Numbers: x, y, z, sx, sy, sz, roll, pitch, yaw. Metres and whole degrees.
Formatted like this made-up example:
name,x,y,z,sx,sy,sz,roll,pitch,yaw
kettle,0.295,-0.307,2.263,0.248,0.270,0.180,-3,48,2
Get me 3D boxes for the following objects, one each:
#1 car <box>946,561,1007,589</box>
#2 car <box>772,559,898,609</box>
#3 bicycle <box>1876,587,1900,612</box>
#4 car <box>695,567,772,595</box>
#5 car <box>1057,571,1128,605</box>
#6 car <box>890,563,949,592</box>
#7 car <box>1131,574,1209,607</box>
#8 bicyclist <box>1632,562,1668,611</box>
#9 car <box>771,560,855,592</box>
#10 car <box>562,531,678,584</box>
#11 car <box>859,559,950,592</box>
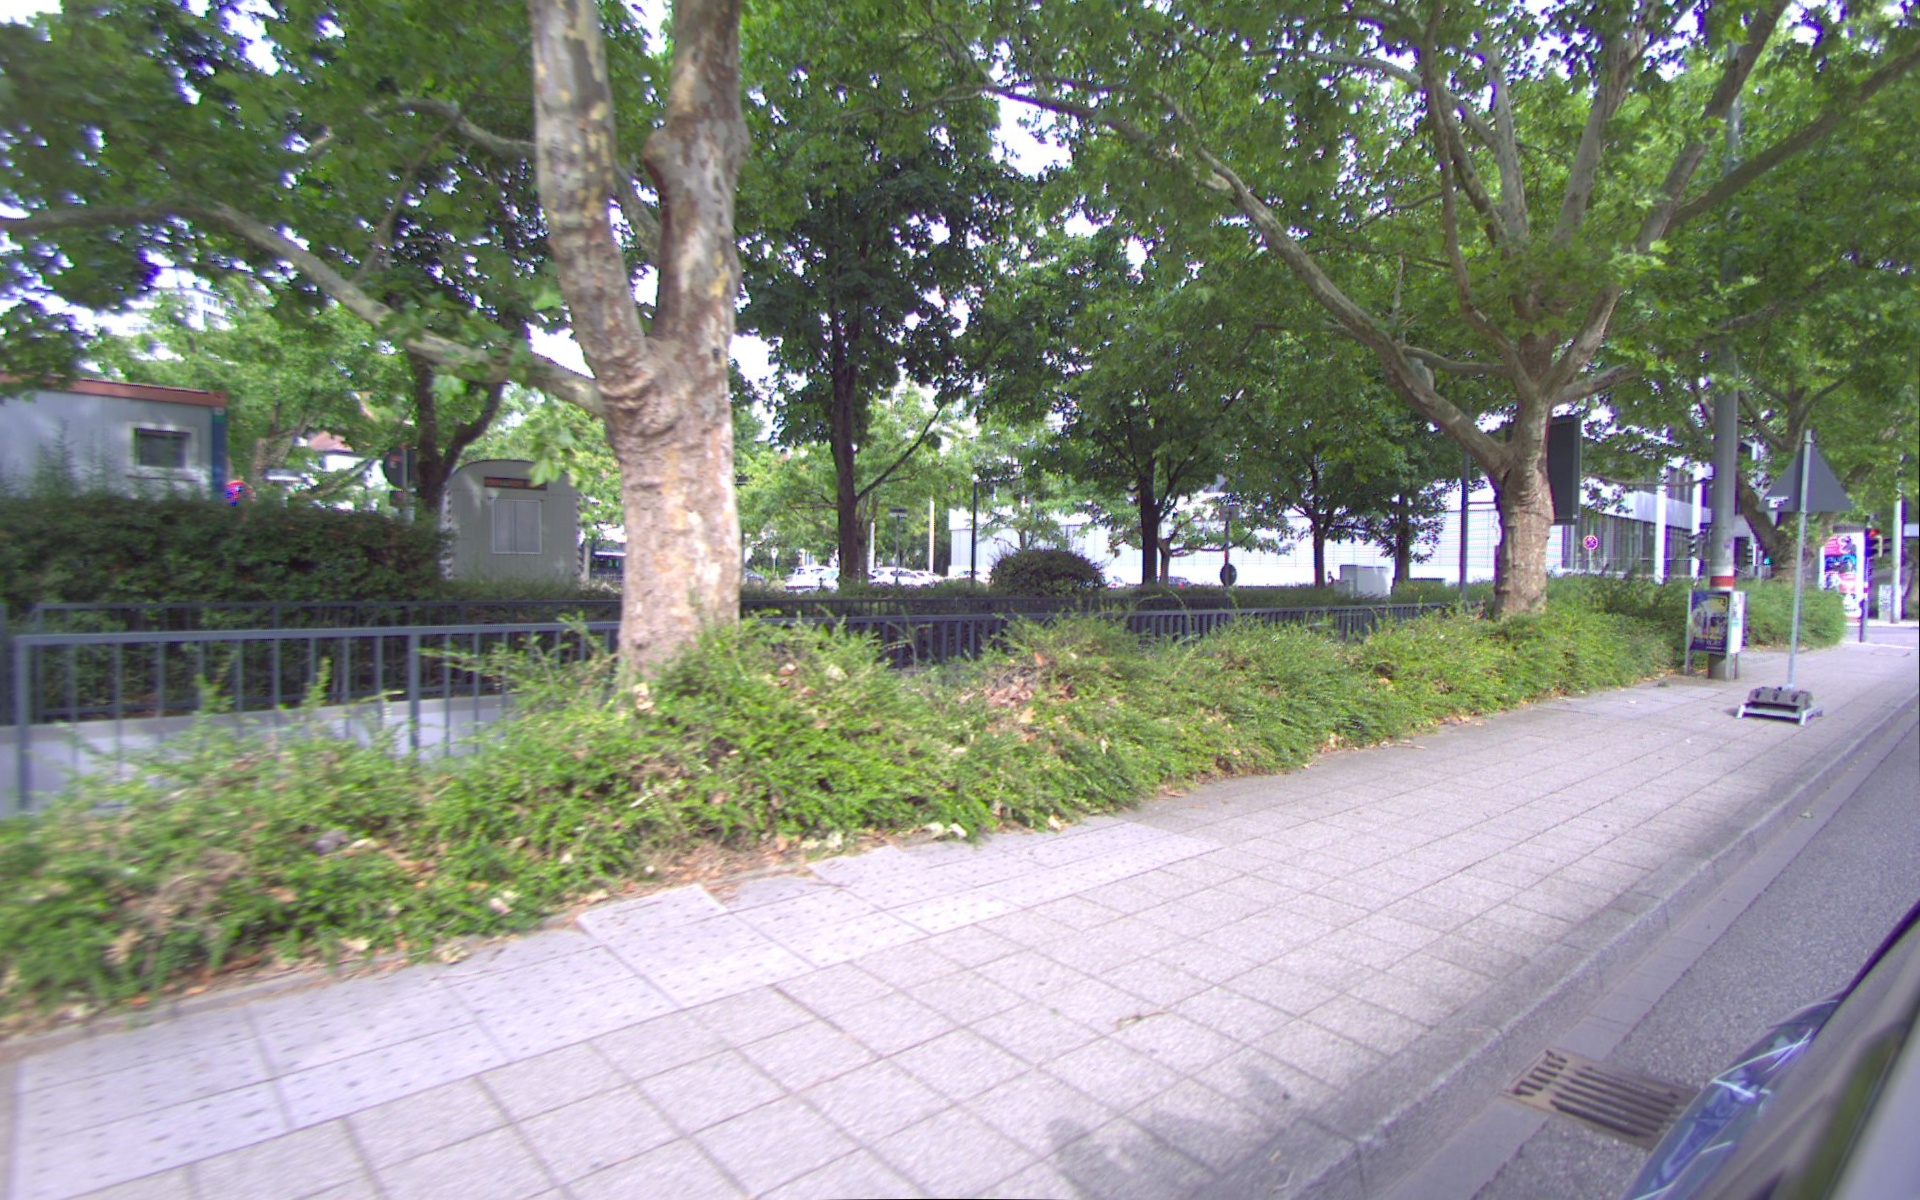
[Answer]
name,x,y,z,sx,sy,sz,roll,pitch,yaw
car,1.128,-1.709,70.192,3.860,1.885,1.926,0,0,39
car,-4.836,-0.593,39.573,1.994,1.817,4.696,0,0,45
bicycle,45.161,-0.036,49.231,1.696,1.184,0.699,0,0,-42
car,-15.061,-1.217,67.331,1.994,1.817,4.696,0,0,45
car,8.245,-0.728,62.997,3.980,2.039,1.972,0,0,39
car,-2.953,-1.617,73.471,3.980,2.039,1.972,0,0,39
car,12.178,-0.534,58.797,3.980,1.883,1.972,0,0,39
bicyclist,24.726,-0.500,36.268,0.899,1.699,0.831,-1,2,-37
car,-8.716,-1.380,60.105,4.695,1.817,1.994,0,0,-45
car,-18.161,-2.208,54.263,5.407,2.647,2.436,0,0,-45
car,-2.982,-1.294,55.024,4.690,1.651,1.997,0,0,-41
